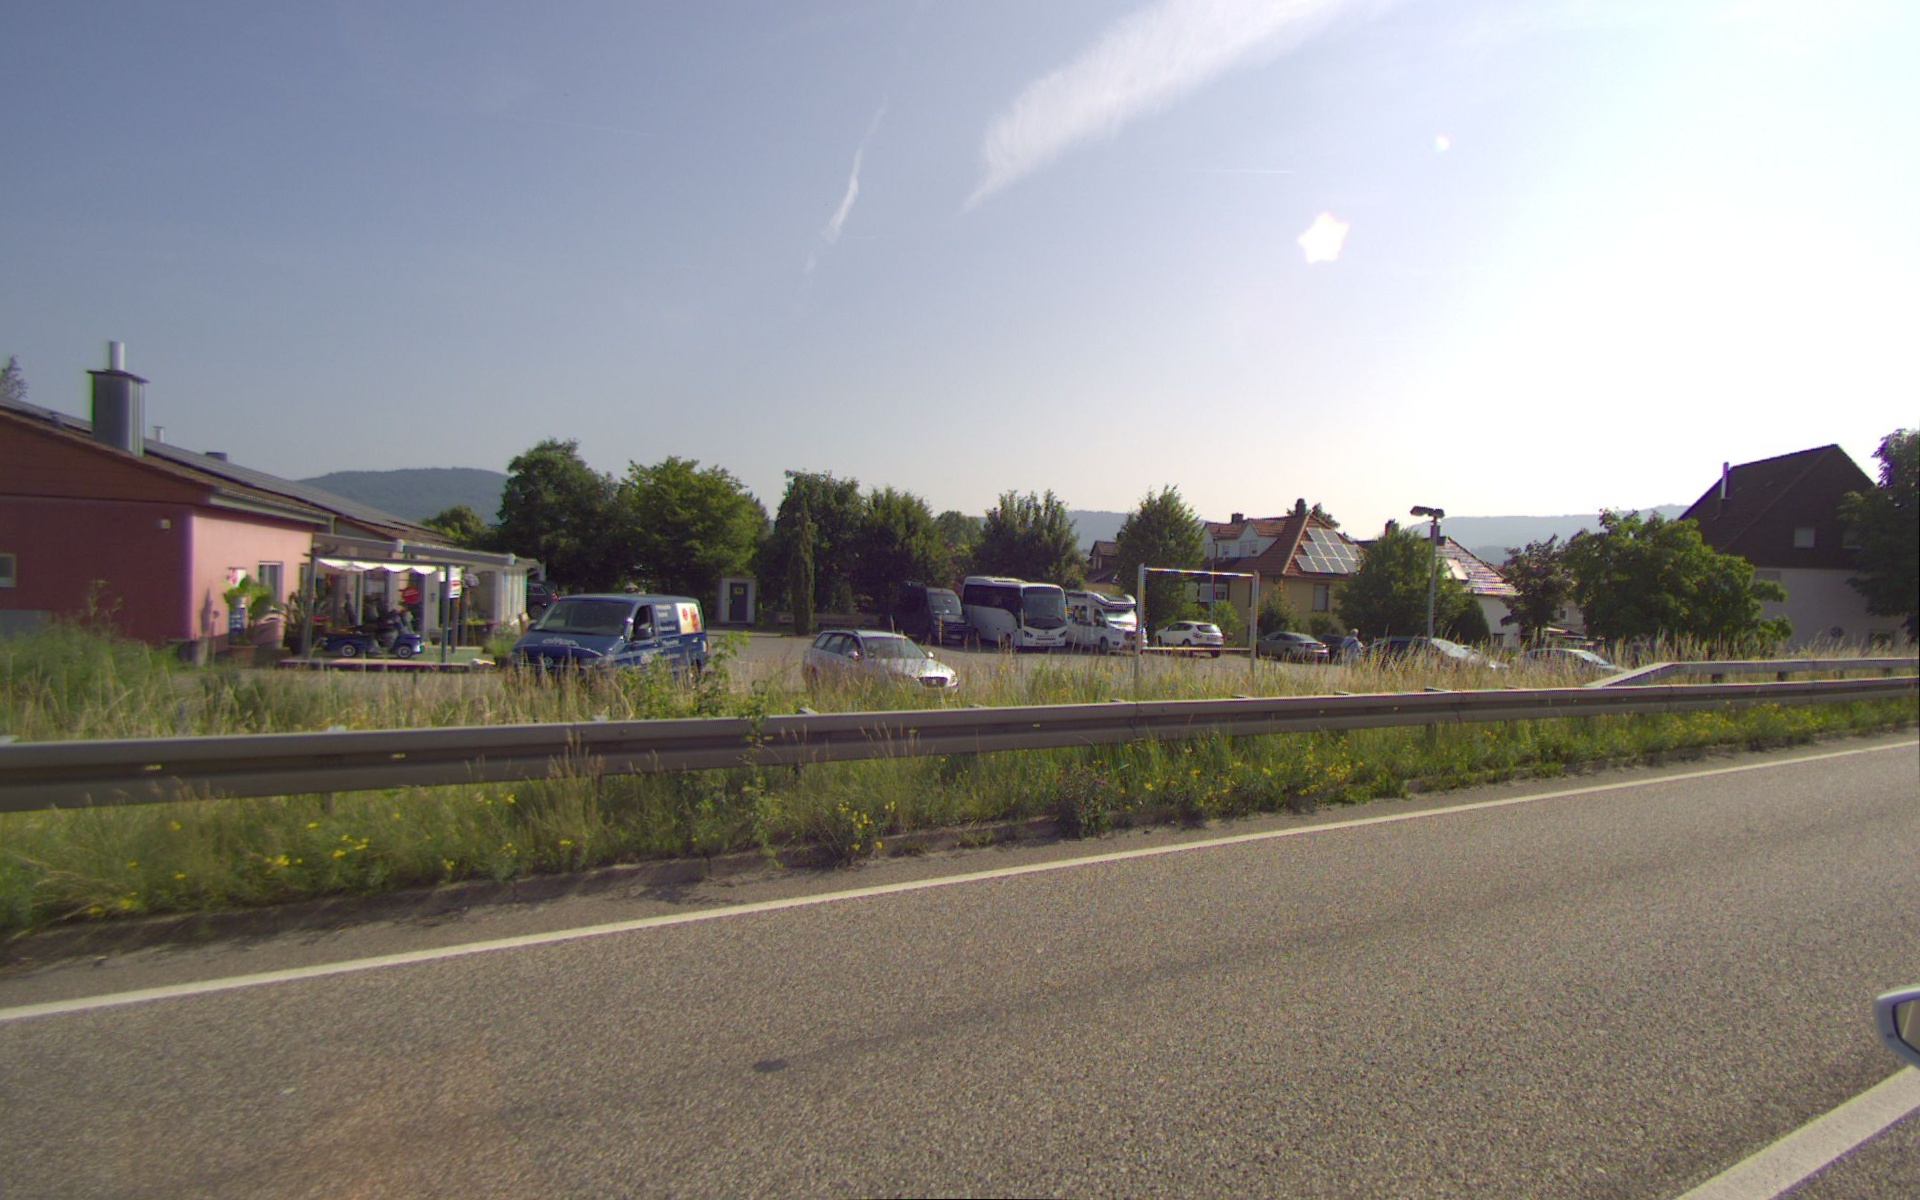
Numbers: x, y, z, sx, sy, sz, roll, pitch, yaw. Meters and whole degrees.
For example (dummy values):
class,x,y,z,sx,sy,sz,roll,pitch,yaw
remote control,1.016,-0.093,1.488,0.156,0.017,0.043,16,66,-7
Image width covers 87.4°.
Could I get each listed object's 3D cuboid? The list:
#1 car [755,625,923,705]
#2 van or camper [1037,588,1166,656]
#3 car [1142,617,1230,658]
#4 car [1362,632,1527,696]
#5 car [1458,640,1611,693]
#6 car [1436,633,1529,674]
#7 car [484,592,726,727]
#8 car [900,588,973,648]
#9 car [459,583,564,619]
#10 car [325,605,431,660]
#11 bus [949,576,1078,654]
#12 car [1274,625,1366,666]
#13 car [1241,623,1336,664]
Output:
class,x,y,z,sx,sy,sz,roll,pitch,yaw
car,-2.732,1.315,21.659,1.725,1.400,4.587,1,0,-33
van or camper,6.592,0.967,48.148,2.708,2.880,7.378,2,1,-22
car,10.890,1.782,48.720,1.835,1.655,4.547,1,1,-23
car,14.910,1.923,31.105,1.854,1.687,4.275,1,0,-33
car,19.771,2.240,34.753,1.851,1.524,4.280,1,0,-29
car,27.615,2.807,53.233,1.833,1.655,4.152,4,2,-19
car,-6.078,0.928,17.962,1.959,2.040,4.908,1,0,9
car,-1.216,0.818,48.958,1.835,2.696,5.010,1,1,-23
car,-21.586,0.062,48.547,4.563,1.629,1.734,1,0,-22
car,-13.170,0.744,22.795,1.991,1.161,0.811,3,-1,-28
bus,2.354,0.557,48.919,2.626,3.400,9.079,0,2,-22
car,18.114,2.268,50.752,1.834,1.655,4.552,4,0,-19
car,16.038,2.097,49.321,1.836,1.655,4.547,4,0,-23
